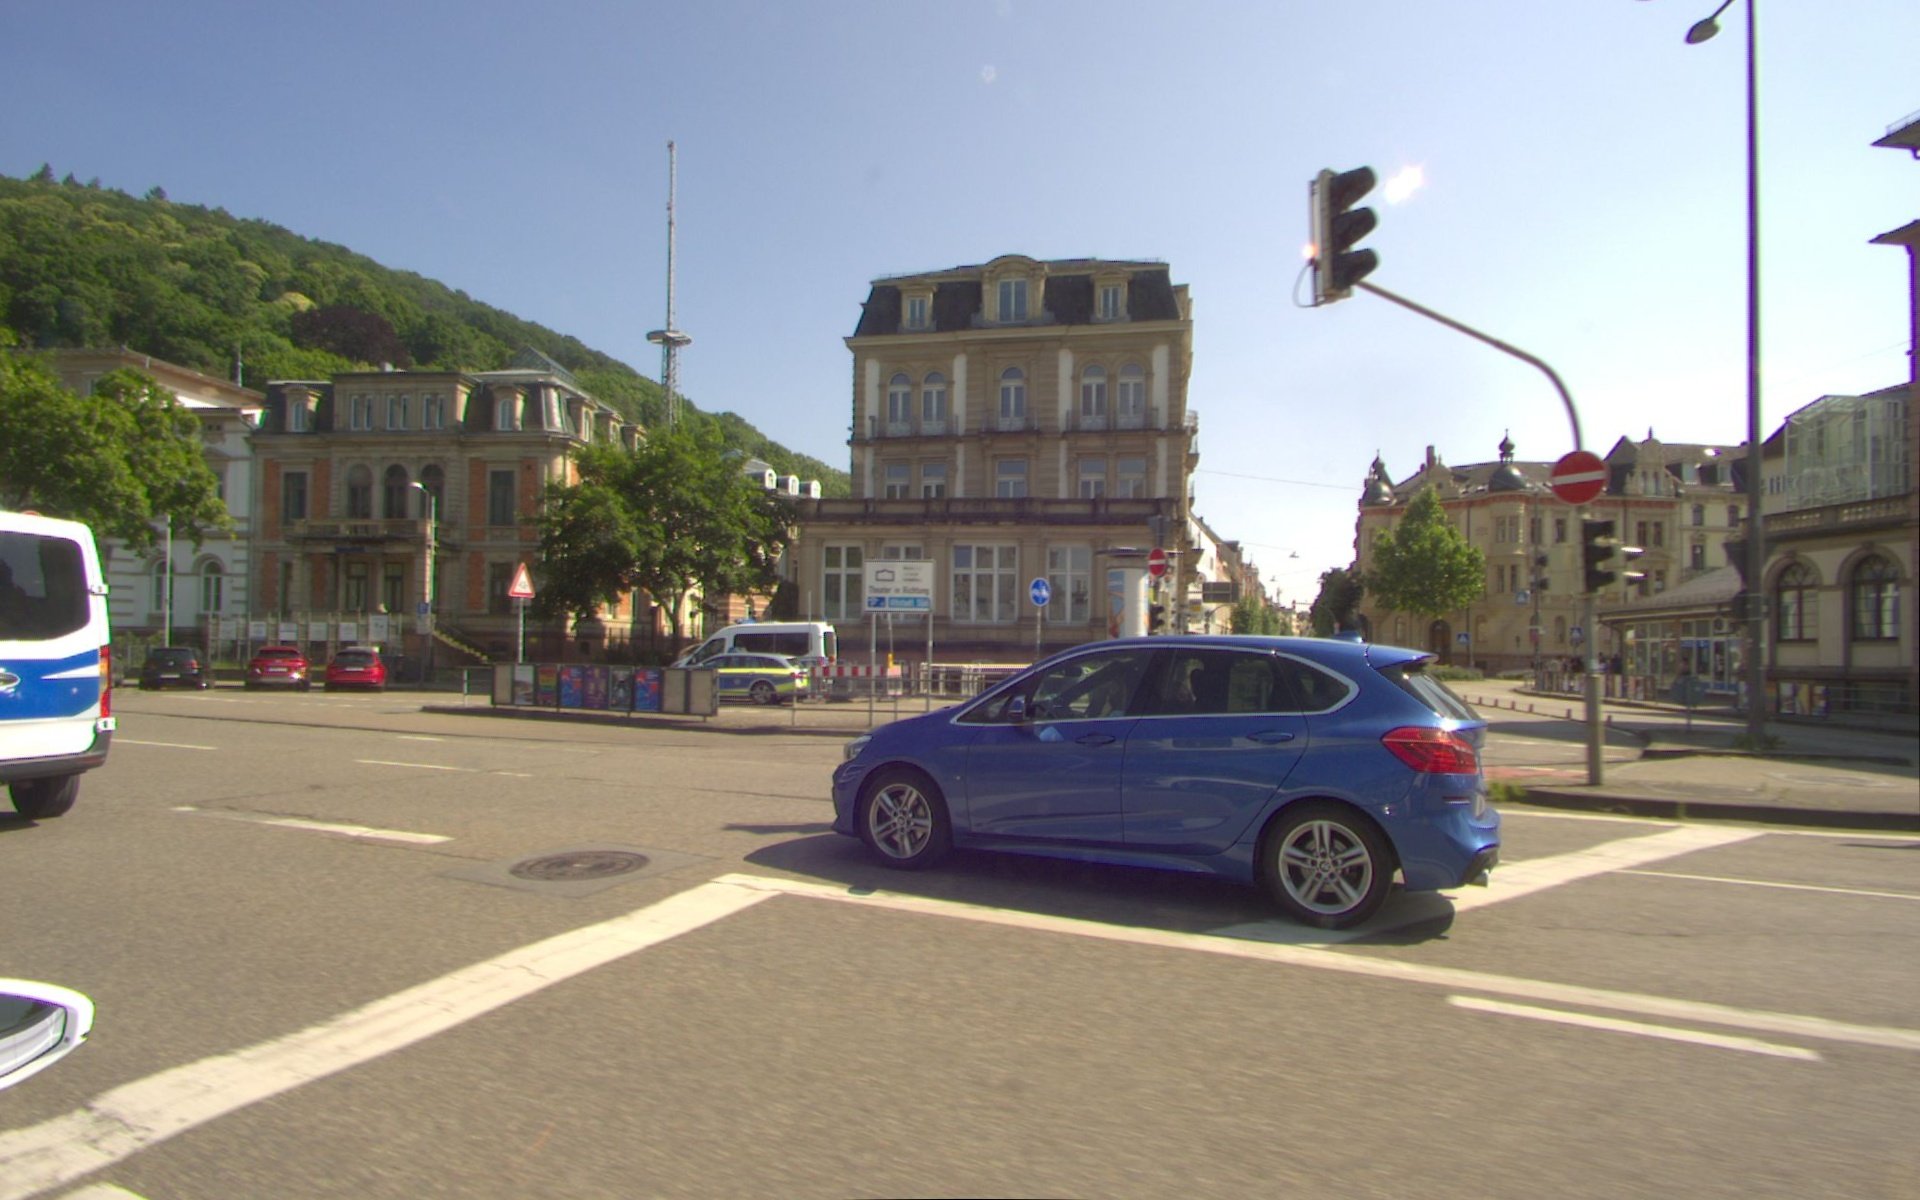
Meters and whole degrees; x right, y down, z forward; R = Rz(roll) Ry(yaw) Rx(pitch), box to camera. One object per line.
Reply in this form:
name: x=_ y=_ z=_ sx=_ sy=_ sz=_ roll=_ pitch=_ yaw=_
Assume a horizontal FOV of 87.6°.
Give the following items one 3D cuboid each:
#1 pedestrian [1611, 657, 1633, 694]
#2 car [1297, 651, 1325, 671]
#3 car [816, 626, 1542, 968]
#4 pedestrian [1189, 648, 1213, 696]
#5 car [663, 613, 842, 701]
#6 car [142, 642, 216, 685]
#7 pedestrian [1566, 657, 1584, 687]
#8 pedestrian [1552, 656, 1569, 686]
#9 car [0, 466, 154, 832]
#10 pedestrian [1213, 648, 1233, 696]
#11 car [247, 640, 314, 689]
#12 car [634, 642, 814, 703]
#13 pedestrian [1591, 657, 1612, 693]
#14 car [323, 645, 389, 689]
pedestrian: x=29.920 y=3.421 z=45.285 sx=0.707 sy=1.624 sz=0.723 roll=0 pitch=-2 yaw=22
car: x=29.542 y=5.115 z=84.392 sx=1.846 sy=1.627 sz=3.867 roll=0 pitch=-3 yaw=13
car: x=1.289 y=0.992 z=6.445 sx=4.207 sy=1.560 sz=1.718 roll=-1 pitch=-4 yaw=30
pedestrian: x=9.025 y=2.693 z=37.427 sx=0.806 sy=1.762 sz=0.750 roll=0 pitch=-2 yaw=18
car: x=-6.576 y=1.812 z=32.074 sx=5.215 sy=2.636 sz=2.001 roll=1 pitch=-2 yaw=5
car: x=-27.327 y=2.204 z=35.135 sx=1.584 sy=1.434 sz=3.800 roll=2 pitch=-3 yaw=-32
pedestrian: x=33.898 y=3.960 z=55.185 sx=0.707 sy=1.624 sz=0.723 roll=0 pitch=-2 yaw=22
pedestrian: x=33.021 y=3.916 z=55.101 sx=0.707 sy=1.624 sz=0.723 roll=0 pitch=-2 yaw=23
car: x=-8.914 y=0.371 z=7.898 sx=4.850 sy=2.540 sz=2.074 roll=-1 pitch=-3 yaw=26
pedestrian: x=9.760 y=2.671 z=37.204 sx=0.689 sy=1.774 sz=0.721 roll=0 pitch=-2 yaw=17
car: x=-23.890 y=2.239 z=35.312 sx=1.726 sy=1.594 sz=3.857 roll=2 pitch=-3 yaw=-32
car: x=-6.869 y=2.117 z=29.439 sx=4.784 sy=1.646 sz=1.824 roll=1 pitch=-2 yaw=4
pedestrian: x=29.195 y=3.408 z=45.583 sx=0.707 sy=1.624 sz=0.723 roll=0 pitch=-2 yaw=23
car: x=-20.919 y=2.299 z=34.787 sx=1.724 sy=1.436 sz=3.685 roll=2 pitch=-3 yaw=-28
